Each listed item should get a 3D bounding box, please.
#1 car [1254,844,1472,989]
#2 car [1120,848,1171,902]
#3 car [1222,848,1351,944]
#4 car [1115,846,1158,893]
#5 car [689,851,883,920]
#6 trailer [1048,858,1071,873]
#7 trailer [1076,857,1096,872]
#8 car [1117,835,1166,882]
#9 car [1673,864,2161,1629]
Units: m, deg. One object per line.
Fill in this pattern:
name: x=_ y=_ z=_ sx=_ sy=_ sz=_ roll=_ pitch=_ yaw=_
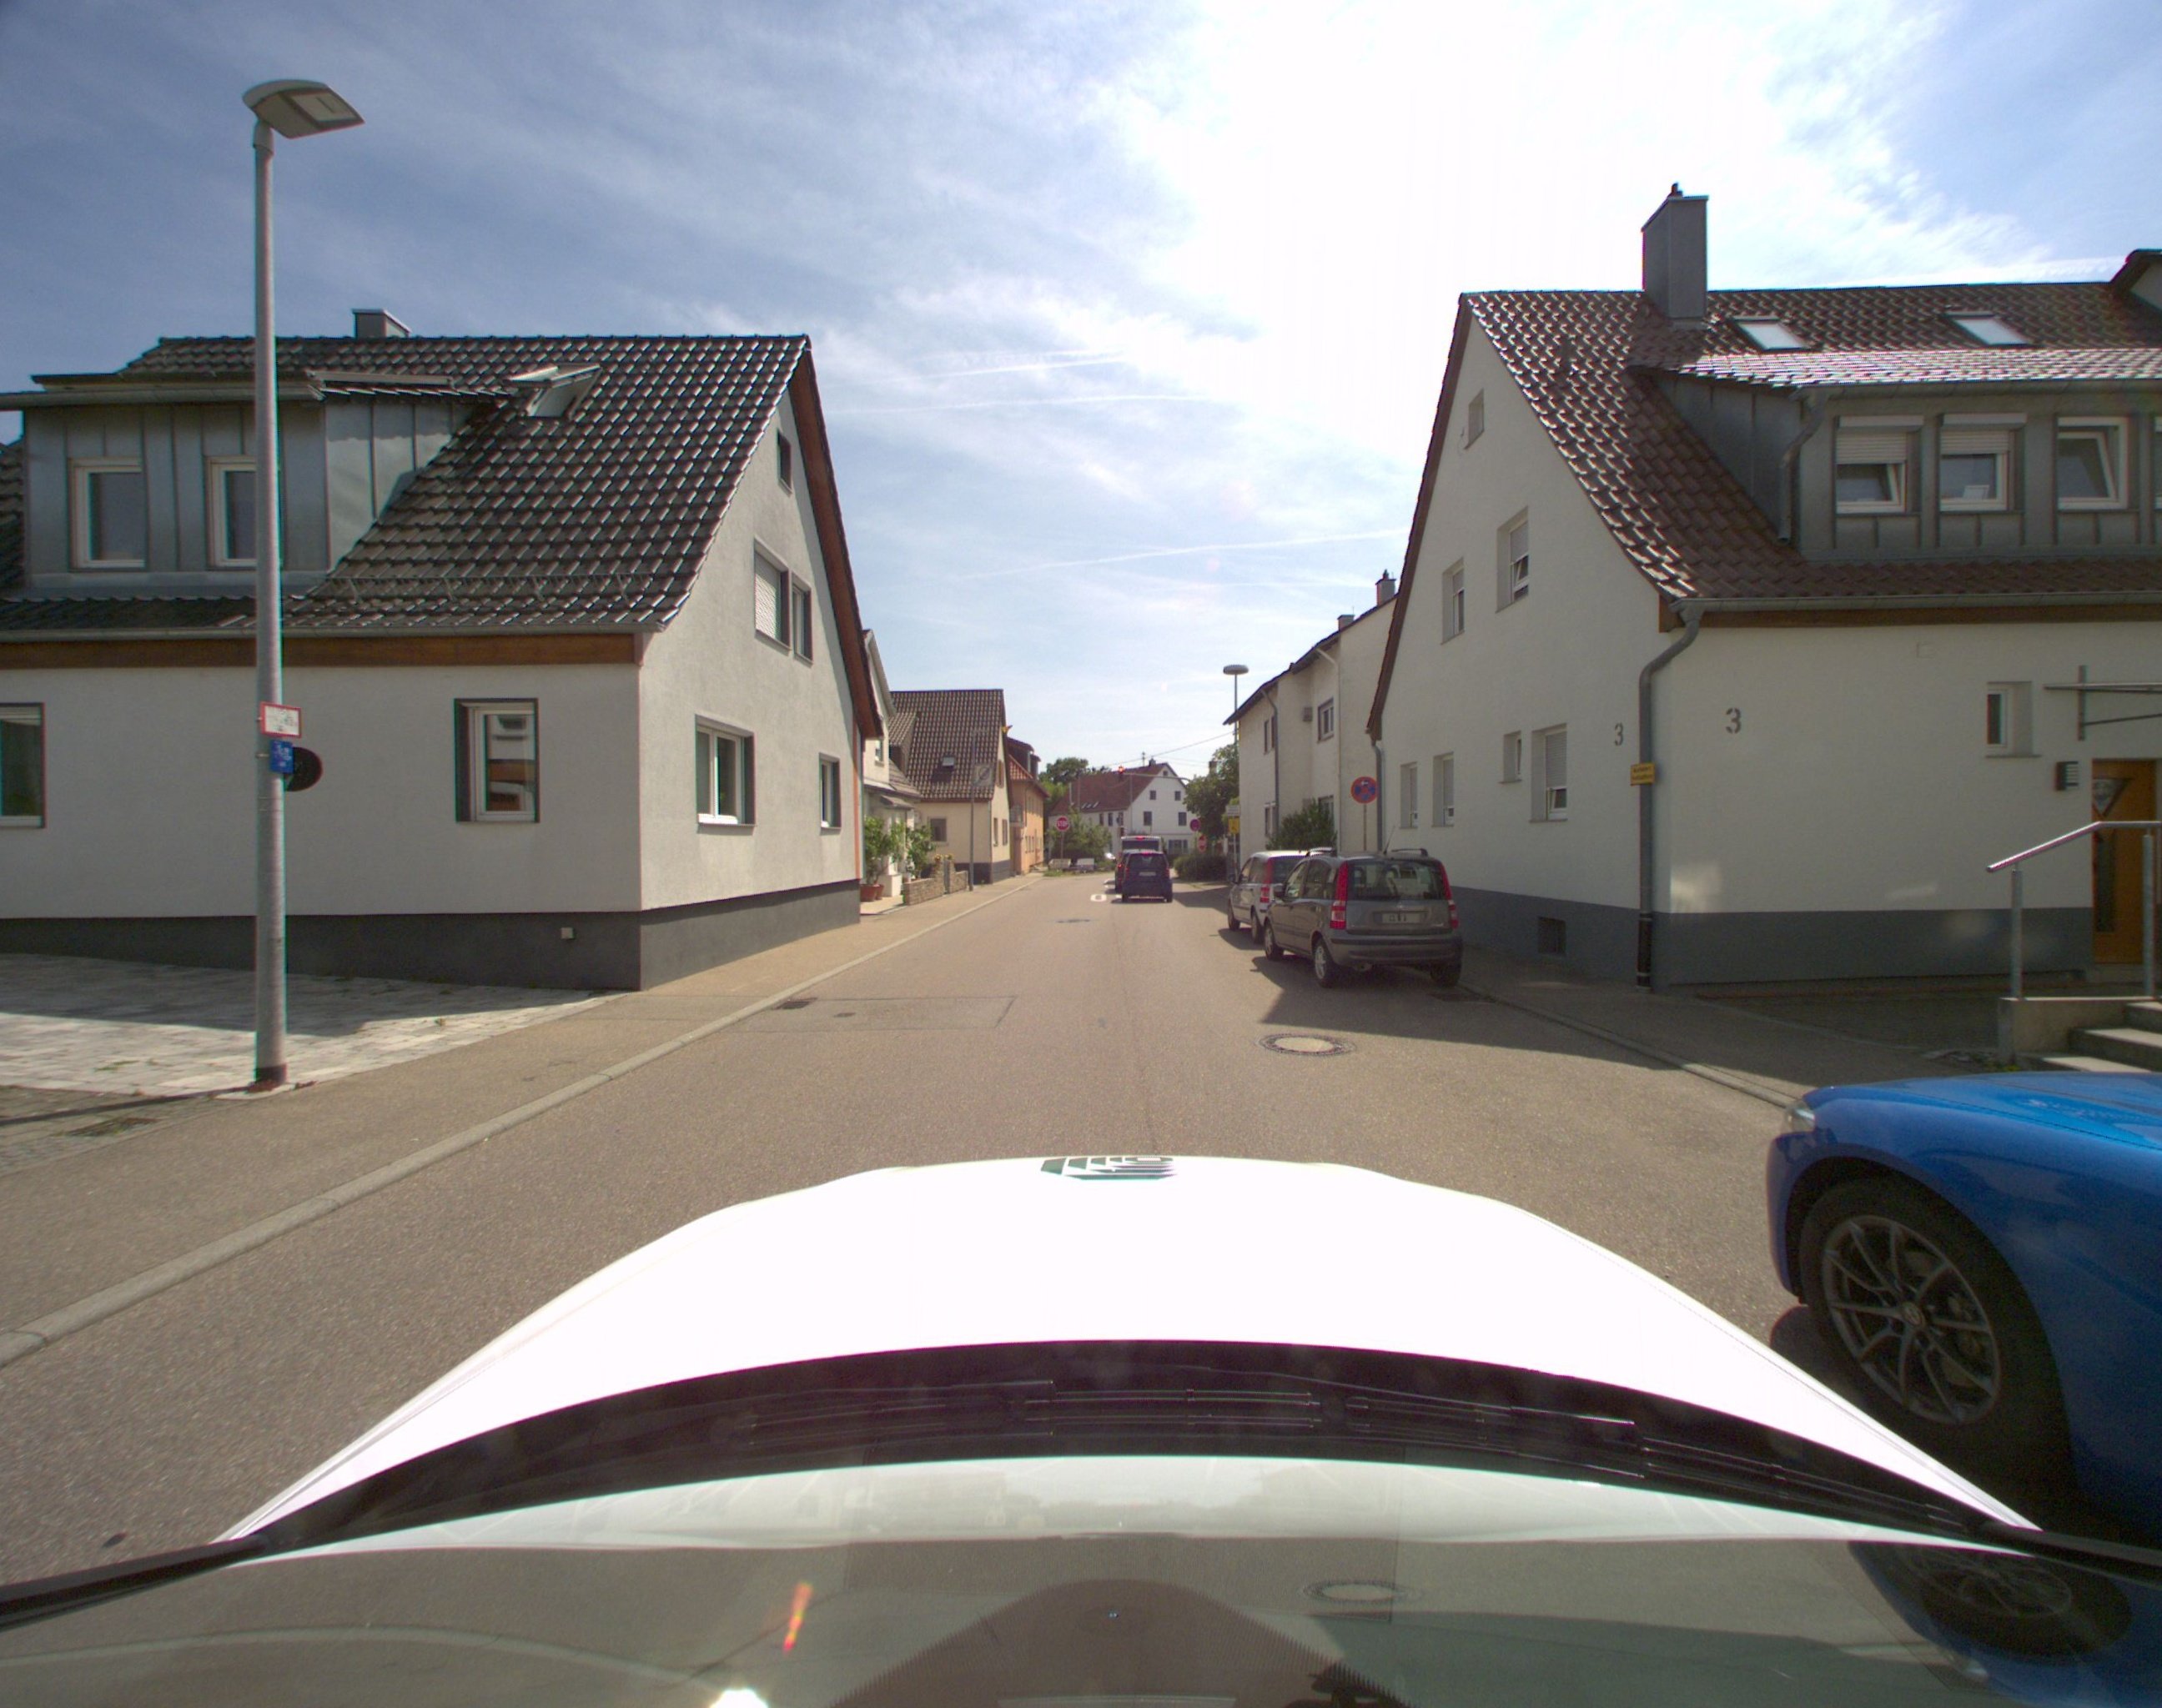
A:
car: x=3.374 y=0.659 z=10.408 sx=1.562 sy=1.545 sz=3.448 roll=0 pitch=0 yaw=-1
car: x=2.051 y=0.609 z=25.722 sx=1.508 sy=1.567 sz=3.188 roll=1 pitch=0 yaw=5
car: x=3.558 y=0.661 z=14.617 sx=1.493 sy=1.513 sz=3.362 roll=0 pitch=0 yaw=0
car: x=2.107 y=0.548 z=30.598 sx=1.508 sy=1.624 sz=3.188 roll=-1 pitch=0 yaw=5
car: x=-6.774 y=0.707 z=18.938 sx=3.820 sy=1.481 sz=1.704 roll=-1 pitch=0 yaw=4
trailer: x=-1.470 y=0.778 z=55.439 sx=1.495 sy=0.927 sz=1.013 roll=2 pitch=0 yaw=2
trailer: x=0.343 y=0.714 z=55.250 sx=1.305 sy=0.970 sz=0.934 roll=0 pitch=0 yaw=2
car: x=3.017 y=0.209 z=39.643 sx=2.117 sy=2.158 sz=4.746 roll=0 pitch=0 yaw=7
car: x=2.875 y=0.757 z=0.585 sx=1.756 sy=1.424 sz=4.595 roll=0 pitch=0 yaw=3
